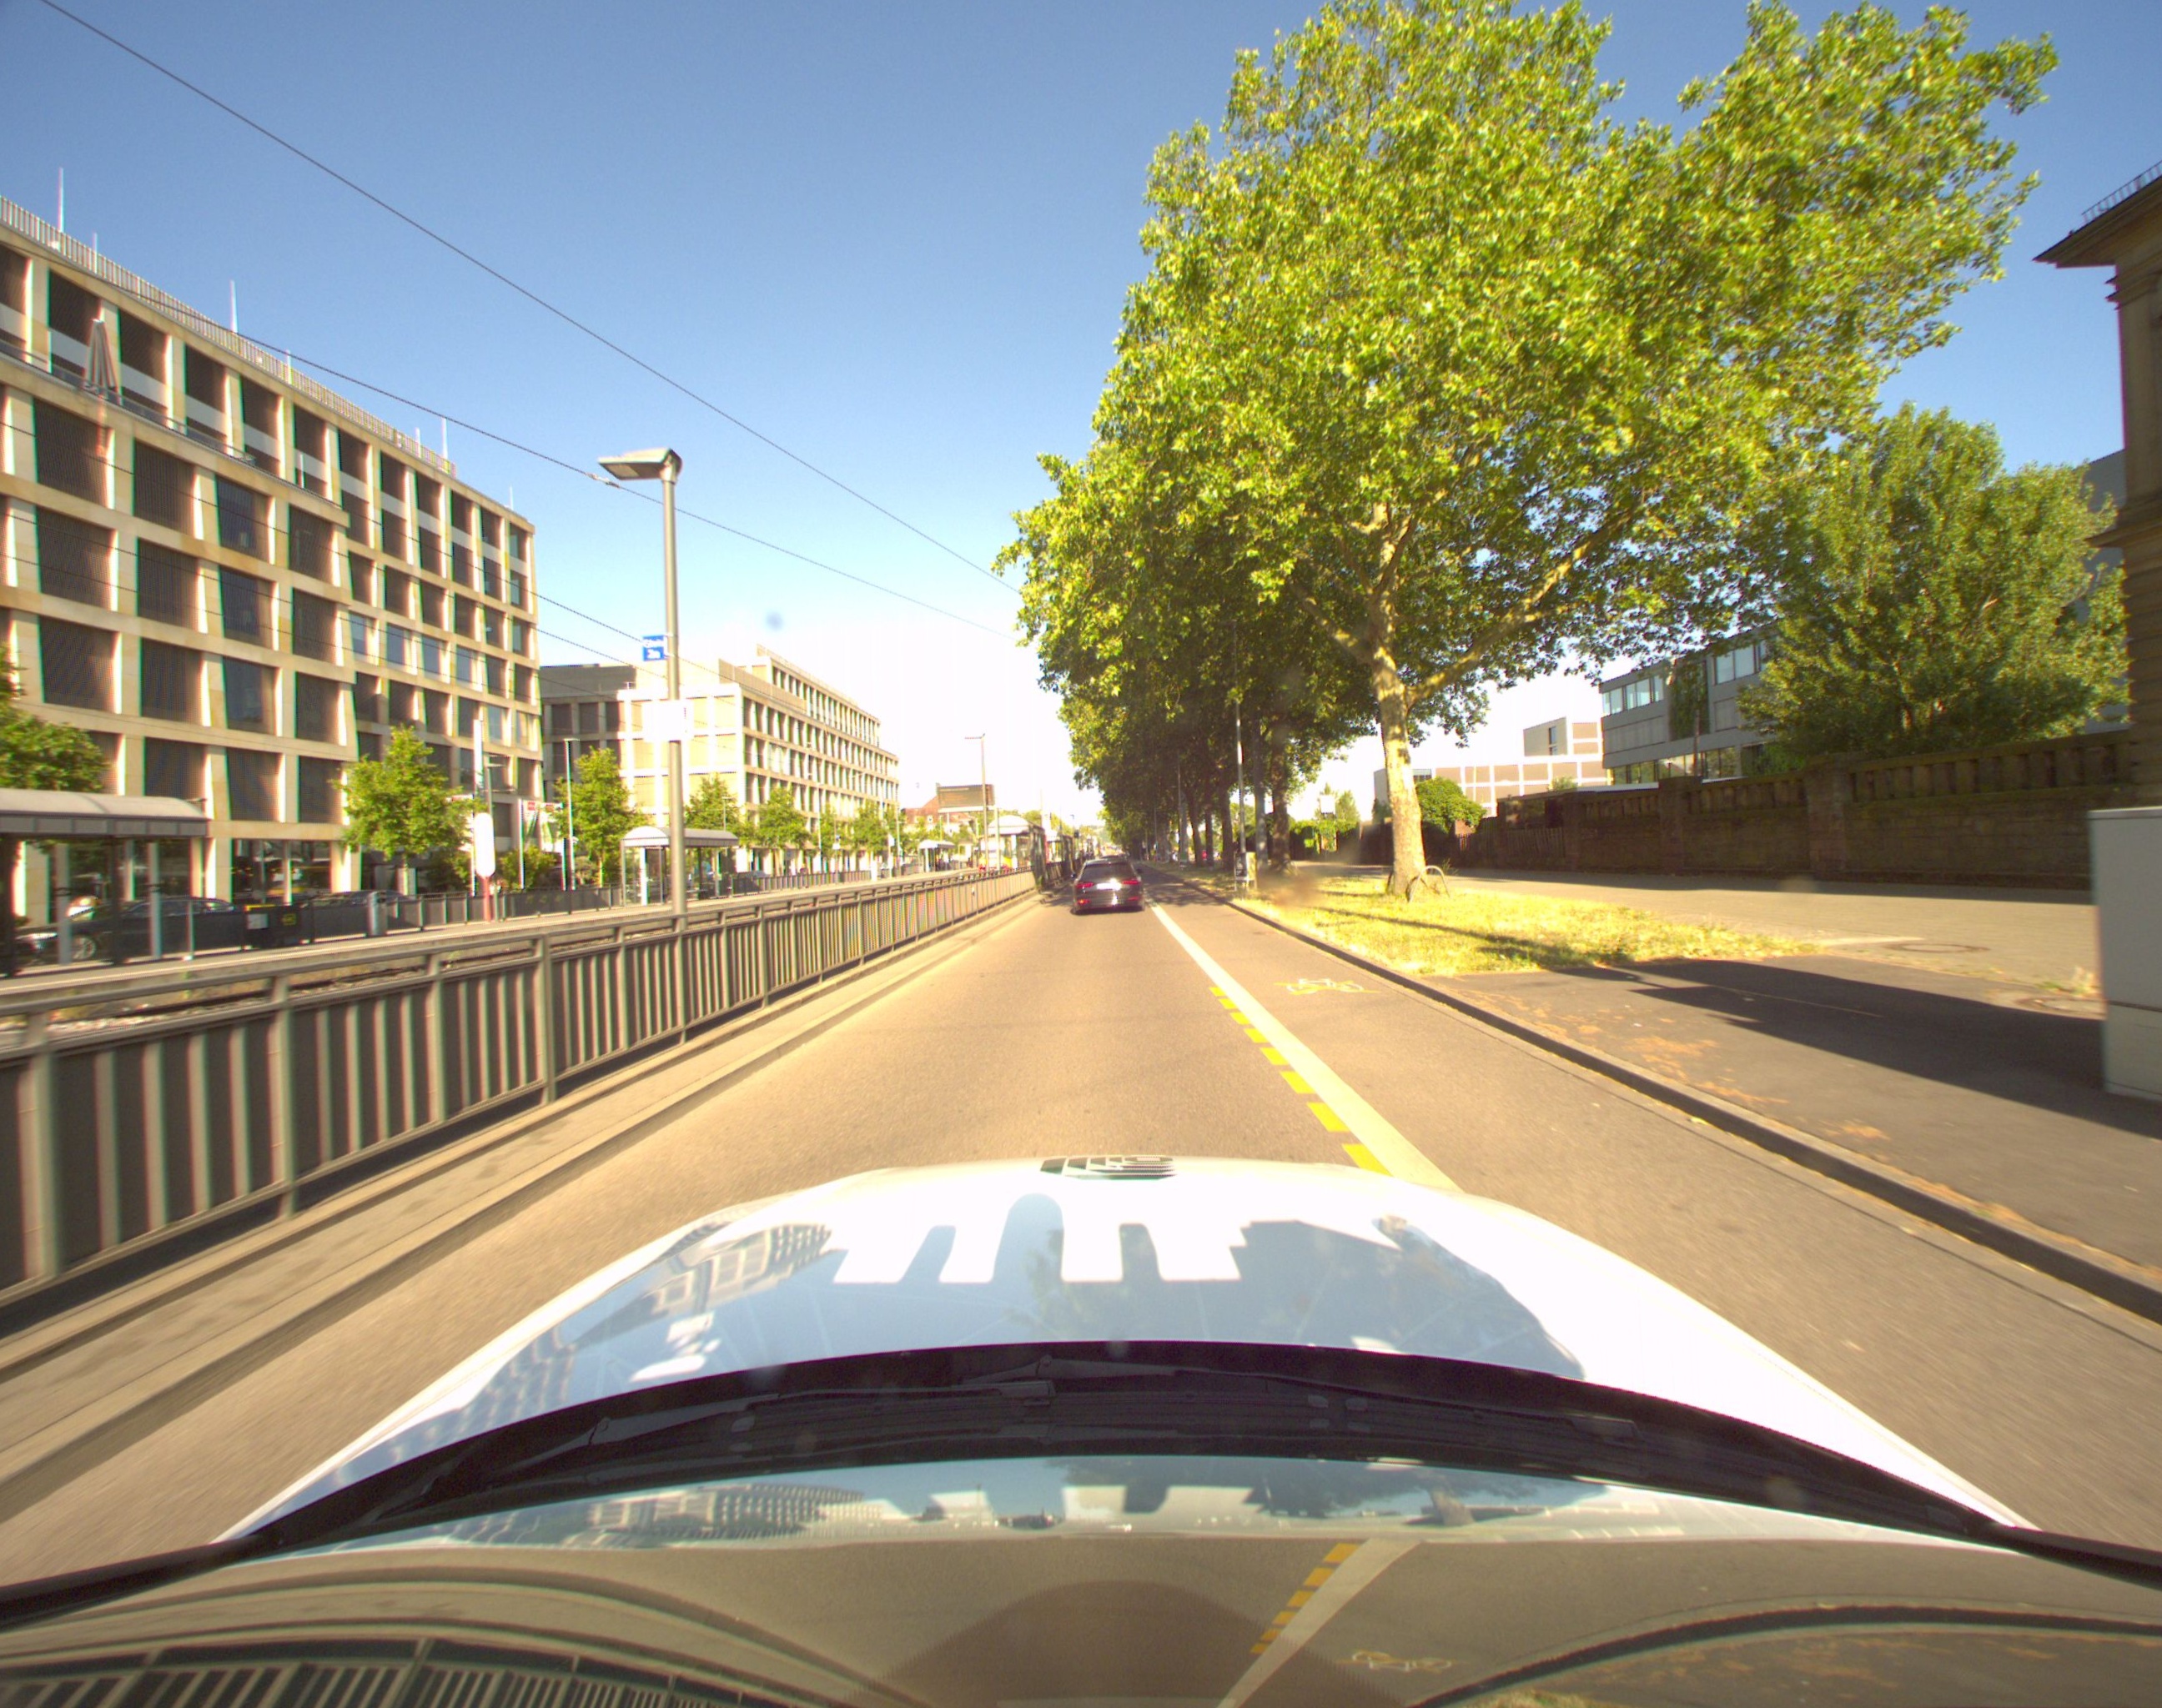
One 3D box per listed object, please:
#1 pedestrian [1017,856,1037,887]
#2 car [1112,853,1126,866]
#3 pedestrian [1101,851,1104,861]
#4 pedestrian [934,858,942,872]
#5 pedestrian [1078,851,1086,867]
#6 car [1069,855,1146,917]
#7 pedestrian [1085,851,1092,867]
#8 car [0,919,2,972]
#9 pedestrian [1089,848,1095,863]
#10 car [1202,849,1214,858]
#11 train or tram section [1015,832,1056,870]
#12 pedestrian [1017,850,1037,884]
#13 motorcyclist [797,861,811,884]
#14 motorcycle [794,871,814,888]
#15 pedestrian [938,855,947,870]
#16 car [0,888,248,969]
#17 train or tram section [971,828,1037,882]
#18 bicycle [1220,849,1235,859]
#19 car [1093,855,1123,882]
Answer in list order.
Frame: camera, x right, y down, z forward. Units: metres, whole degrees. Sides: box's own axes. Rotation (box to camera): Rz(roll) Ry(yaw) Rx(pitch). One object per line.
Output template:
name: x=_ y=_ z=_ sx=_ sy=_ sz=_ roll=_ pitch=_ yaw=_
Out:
pedestrian: x=-2.270 y=0.726 z=34.425 sx=0.739 sy=1.274 sz=0.525 roll=-3 pitch=0 yaw=2
car: x=5.144 y=0.745 z=111.381 sx=1.757 sy=1.619 sz=4.000 roll=-2 pitch=0 yaw=0
pedestrian: x=3.634 y=0.350 z=139.651 sx=0.410 sy=1.717 sz=0.666 roll=-2 pitch=0 yaw=2
pedestrian: x=-13.970 y=1.067 z=79.536 sx=0.611 sy=1.260 sz=0.726 roll=-2 pitch=0 yaw=6
pedestrian: x=0.062 y=0.513 z=84.505 sx=0.610 sy=1.548 sz=0.727 roll=-2 pitch=0 yaw=13
car: x=0.684 y=0.813 z=22.046 sx=1.872 sy=1.457 sz=3.356 roll=-3 pitch=0 yaw=0
pedestrian: x=0.836 y=0.541 z=90.181 sx=0.608 sy=1.668 sz=0.614 roll=-2 pitch=0 yaw=4
car: x=-24.889 y=1.867 z=16.275 sx=1.638 sy=1.562 sz=3.653 roll=-3 pitch=0 yaw=3
pedestrian: x=1.381 y=0.208 z=102.721 sx=0.609 sy=1.784 sz=0.614 roll=-2 pitch=0 yaw=3
car: x=22.020 y=-0.065 z=141.698 sx=1.608 sy=1.515 sz=3.806 roll=-2 pitch=0 yaw=3
train or tram section: x=-4.925 y=-0.287 z=91.537 sx=3.296 sy=3.829 sz=11.851 roll=-2 pitch=0 yaw=3
pedestrian: x=-2.467 y=0.590 z=37.490 sx=0.742 sy=1.508 sz=0.667 roll=-3 pitch=0 yaw=5
motorcyclist: x=-18.843 y=1.257 z=55.331 sx=0.573 sy=1.533 sz=0.765 roll=-3 pitch=0 yaw=3
motorcycle: x=-18.832 y=1.727 z=55.322 sx=0.602 sy=1.021 sz=1.843 roll=-3 pitch=0 yaw=3
pedestrian: x=-13.953 y=0.863 z=82.091 sx=0.610 sy=1.527 sz=0.726 roll=-2 pitch=0 yaw=11
car: x=-24.863 y=1.861 z=21.237 sx=1.985 sy=1.662 sz=4.003 roll=-3 pitch=0 yaw=3
train or tram section: x=-5.968 y=0.072 z=66.335 sx=3.296 sy=3.829 sz=14.228 roll=-2 pitch=0 yaw=3
bicycle: x=17.771 y=0.022 z=98.762 sx=1.766 sy=1.120 sz=0.439 roll=-4 pitch=-1 yaw=1
car: x=1.719 y=0.890 z=52.275 sx=1.757 sy=1.619 sz=4.000 roll=-2 pitch=0 yaw=0
